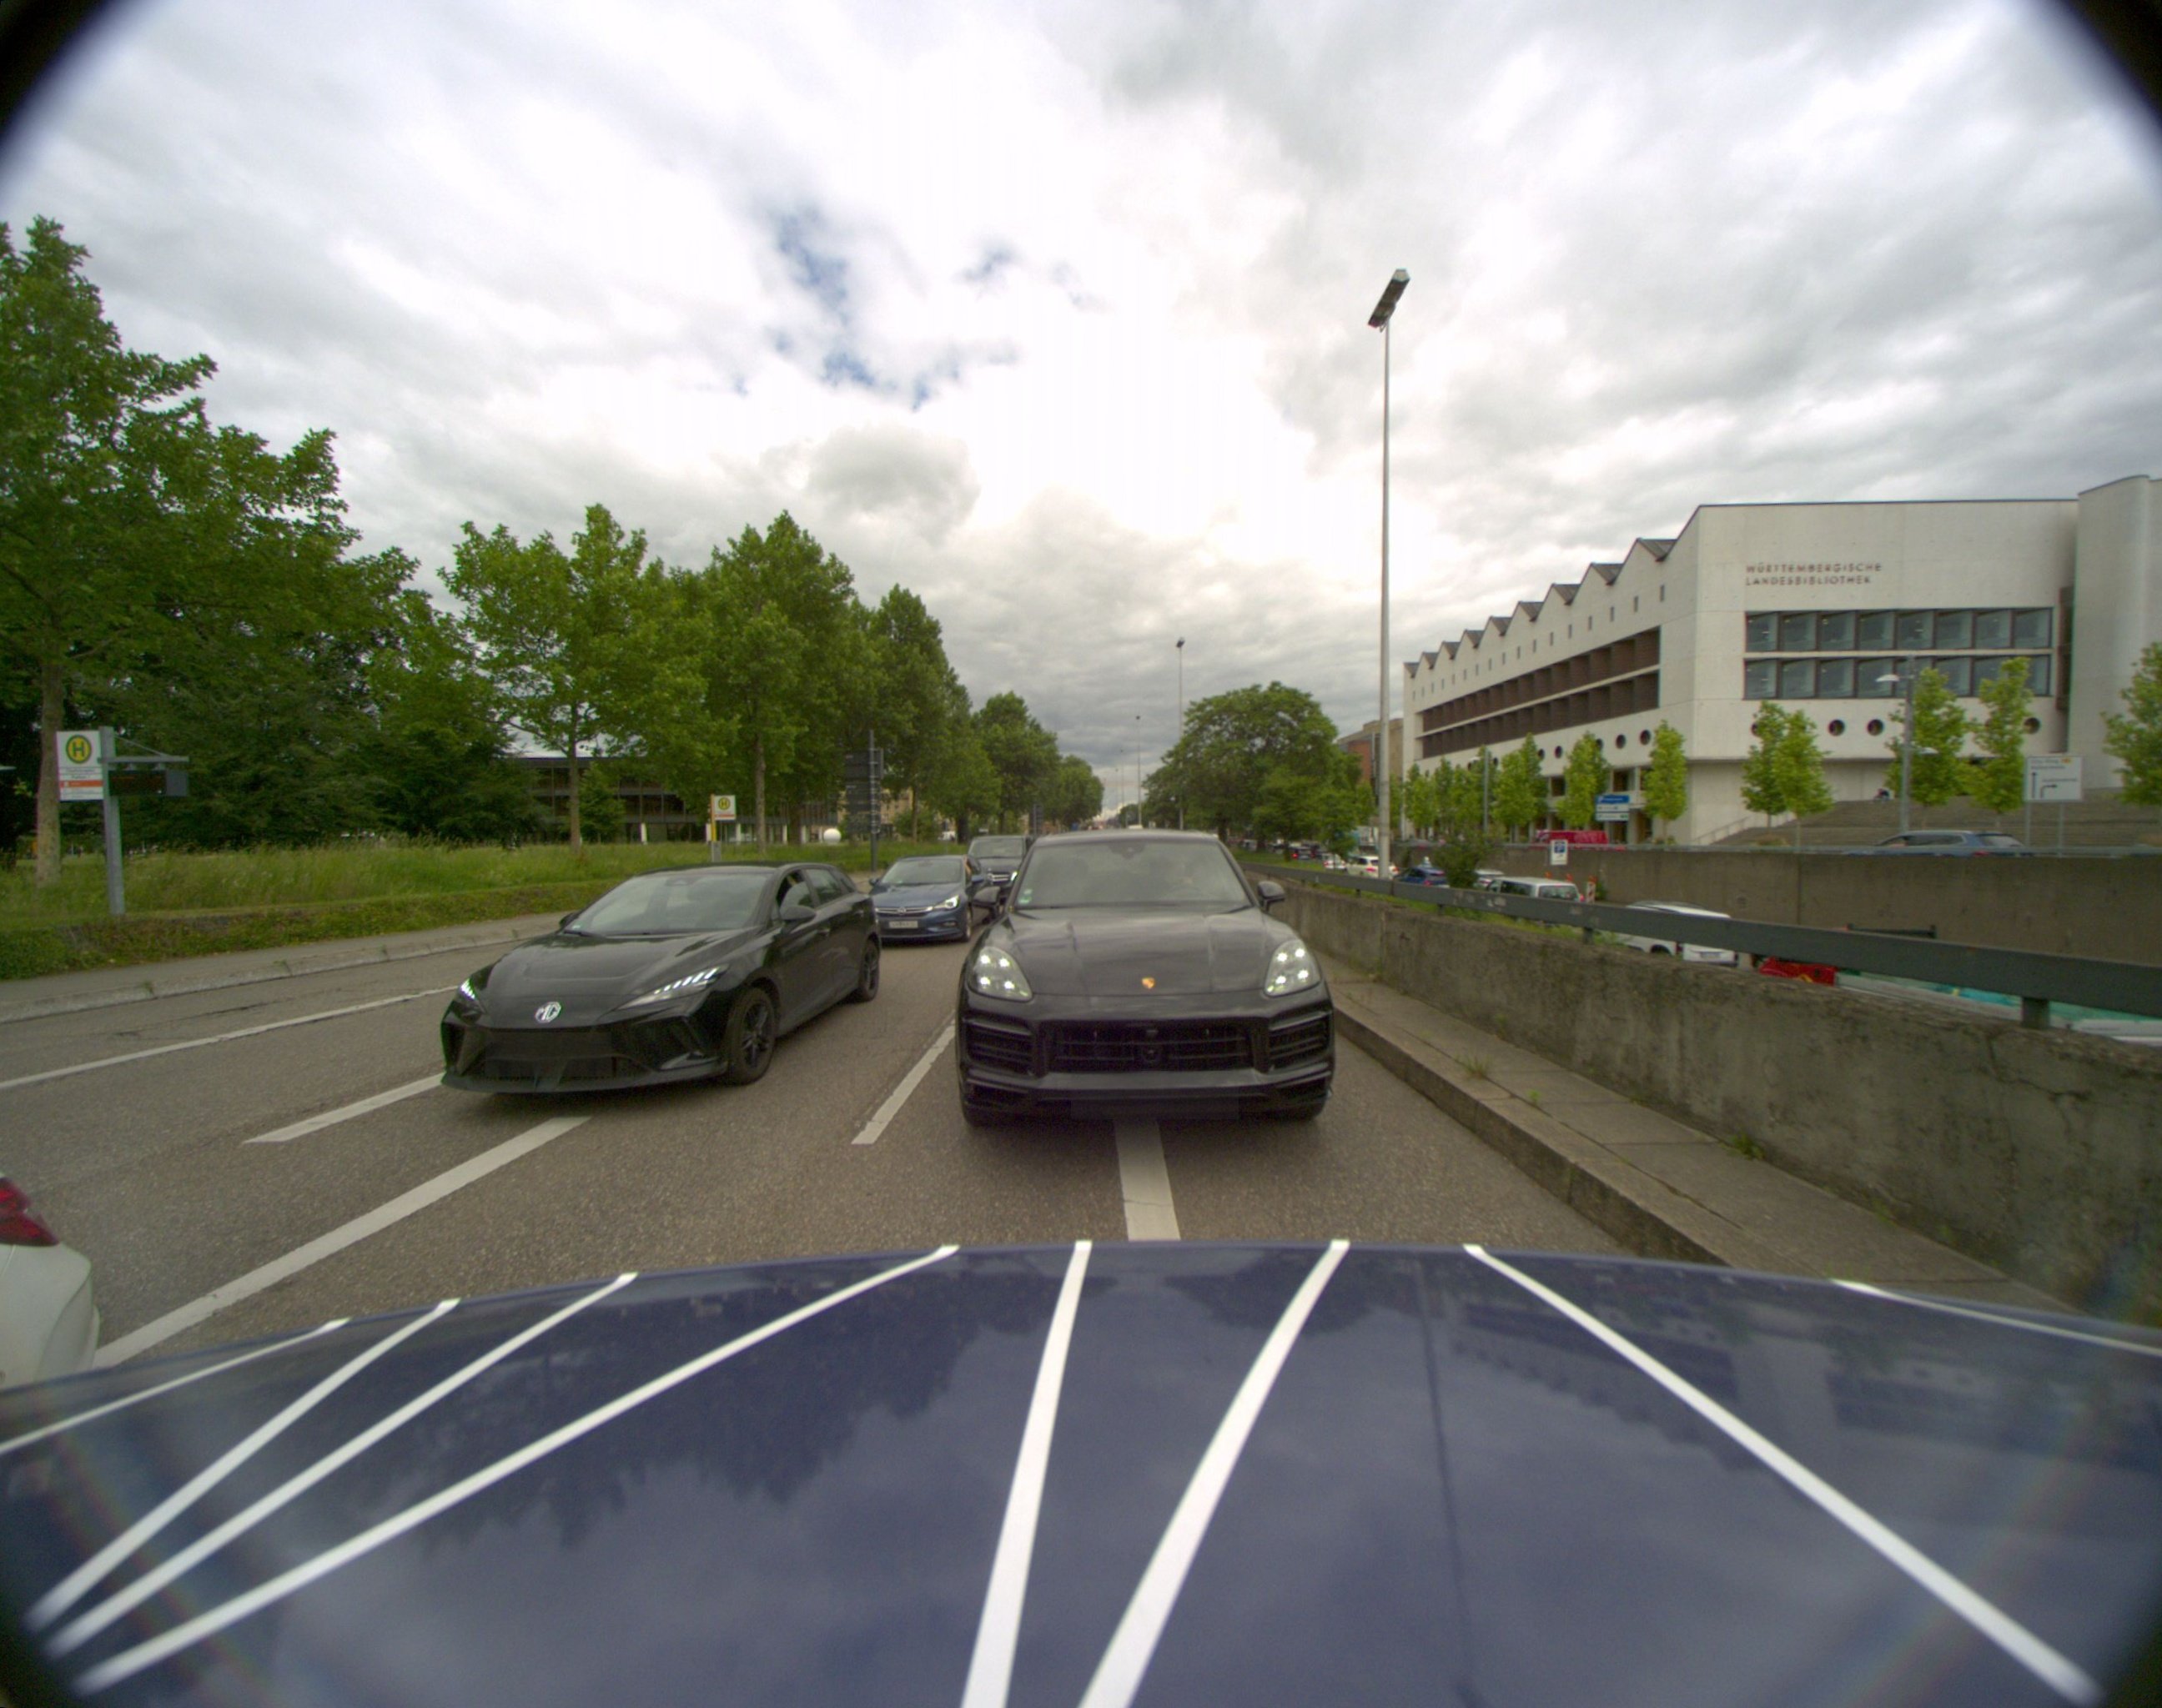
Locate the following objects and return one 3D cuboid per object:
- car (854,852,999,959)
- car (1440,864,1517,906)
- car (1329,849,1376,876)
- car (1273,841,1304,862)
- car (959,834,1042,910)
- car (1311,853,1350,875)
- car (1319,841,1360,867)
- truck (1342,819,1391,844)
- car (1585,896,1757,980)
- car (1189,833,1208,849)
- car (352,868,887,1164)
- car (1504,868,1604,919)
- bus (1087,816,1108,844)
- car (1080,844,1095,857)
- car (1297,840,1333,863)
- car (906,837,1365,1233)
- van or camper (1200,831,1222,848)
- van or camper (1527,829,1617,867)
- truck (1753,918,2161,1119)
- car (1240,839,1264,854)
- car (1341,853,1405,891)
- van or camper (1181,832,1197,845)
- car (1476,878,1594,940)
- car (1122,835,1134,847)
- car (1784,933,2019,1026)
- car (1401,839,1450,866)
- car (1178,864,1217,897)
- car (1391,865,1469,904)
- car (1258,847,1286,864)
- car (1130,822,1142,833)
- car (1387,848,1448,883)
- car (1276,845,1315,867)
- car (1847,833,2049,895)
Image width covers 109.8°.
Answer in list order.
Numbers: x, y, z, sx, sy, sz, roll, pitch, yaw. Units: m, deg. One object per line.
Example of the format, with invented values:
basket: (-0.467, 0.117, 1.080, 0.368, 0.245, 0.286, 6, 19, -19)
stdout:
car: (-2.550, 0.770, 13.464, 1.573, 1.528, 4.001, -2, 1, 2)
car: (21.041, 1.583, 40.402, 1.998, 2.002, 4.000, 2, 0, 1)
car: (21.006, 0.636, 58.905, 1.998, 2.002, 4.655, -2, 0, 1)
car: (21.200, -0.261, 77.686, 1.998, 2.002, 4.000, 2, 0, 1)
car: (-2.114, 0.426, 21.227, 1.723, 1.851, 4.430, -2, 1, 1)
car: (17.598, 0.662, 53.653, 1.675, 1.477, 3.361, 0, 1, 1)
car: (21.371, -0.033, 62.914, 1.998, 2.002, 4.000, 2, 0, 1)
truck: (26.933, -2.052, 71.916, 2.002, 2.145, 5.616, -2, 0, -5)
car: (17.483, 2.405, 22.801, 1.998, 2.002, 4.000, 2, 0, 1)
car: (16.389, -1.786, 106.340, 1.998, 2.002, 4.000, -5, 0, 1)
car: (-3.098, 0.946, 6.293, 1.829, 1.515, 4.119, -2, 0, 1)
car: (21.215, 1.721, 34.317, 1.998, 2.002, 4.000, 2, 0, 1)
bus: (2.654, -3.763, 123.126, 3.043, 4.328, 8.748, -1, 1, 0)
car: (0.737, -0.378, 85.073, 1.565, 1.409, 3.619, -2, 0, 1)
car: (21.094, -0.221, 68.676, 1.998, 2.002, 4.000, 2, 0, 1)
car: (0.268, 0.781, 5.627, 1.937, 1.668, 4.679, -2, 0, 1)
van or camper: (15.968, -1.754, 93.624, 2.036, 2.002, 4.000, -2, 0, 1)
van or camper: (27.474, -0.316, 42.708, 1.999, 2.002, 4.556, -1, 0, -1)
truck: (17.290, 2.925, 15.274, 2.324, 2.675, 5.979, -2, 0, 1)
car: (17.646, -0.784, 78.585, 1.675, 1.477, 3.361, -2, 0, 1)
car: (17.677, 1.030, 46.236, 1.998, 2.119, 4.852, 2, 0, 1)
van or camper: (17.250, -2.436, 121.442, 2.036, 2.002, 4.000, -2, 0, 1)
car: (17.610, 2.066, 29.736, 1.998, 2.002, 4.332, 2, 0, 1)
car: (8.348, -2.239, 135.022, 1.998, 2.002, 4.000, -1, 0, 1)
car: (21.215, 3.179, 19.920, 1.999, 1.805, 3.865, 0, 0, 0)
car: (27.251, -0.136, 60.296, 1.999, 2.002, 3.999, -2, 1, -1)
car: (7.967, 1.758, 52.269, 1.998, 2.002, 3.999, -2, 1, 1)
car: (17.627, 1.513, 38.592, 1.998, 1.733, 4.281, 2, 0, 1)
car: (17.049, 0.150, 68.092, 1.675, 1.477, 3.361, -2, 0, 1)
car: (10.807, -5.258, 149.103, 1.997, 2.002, 4.002, -2, 1, 9)
car: (20.992, 0.677, 47.574, 1.998, 2.002, 4.000, 2, 0, 1)
car: (17.272, 0.169, 61.350, 1.998, 1.650, 4.000, -1, 0, 1)
car: (27.869, 0.299, 24.653, 1.998, 1.805, 4.000, -1, 0, 1)
